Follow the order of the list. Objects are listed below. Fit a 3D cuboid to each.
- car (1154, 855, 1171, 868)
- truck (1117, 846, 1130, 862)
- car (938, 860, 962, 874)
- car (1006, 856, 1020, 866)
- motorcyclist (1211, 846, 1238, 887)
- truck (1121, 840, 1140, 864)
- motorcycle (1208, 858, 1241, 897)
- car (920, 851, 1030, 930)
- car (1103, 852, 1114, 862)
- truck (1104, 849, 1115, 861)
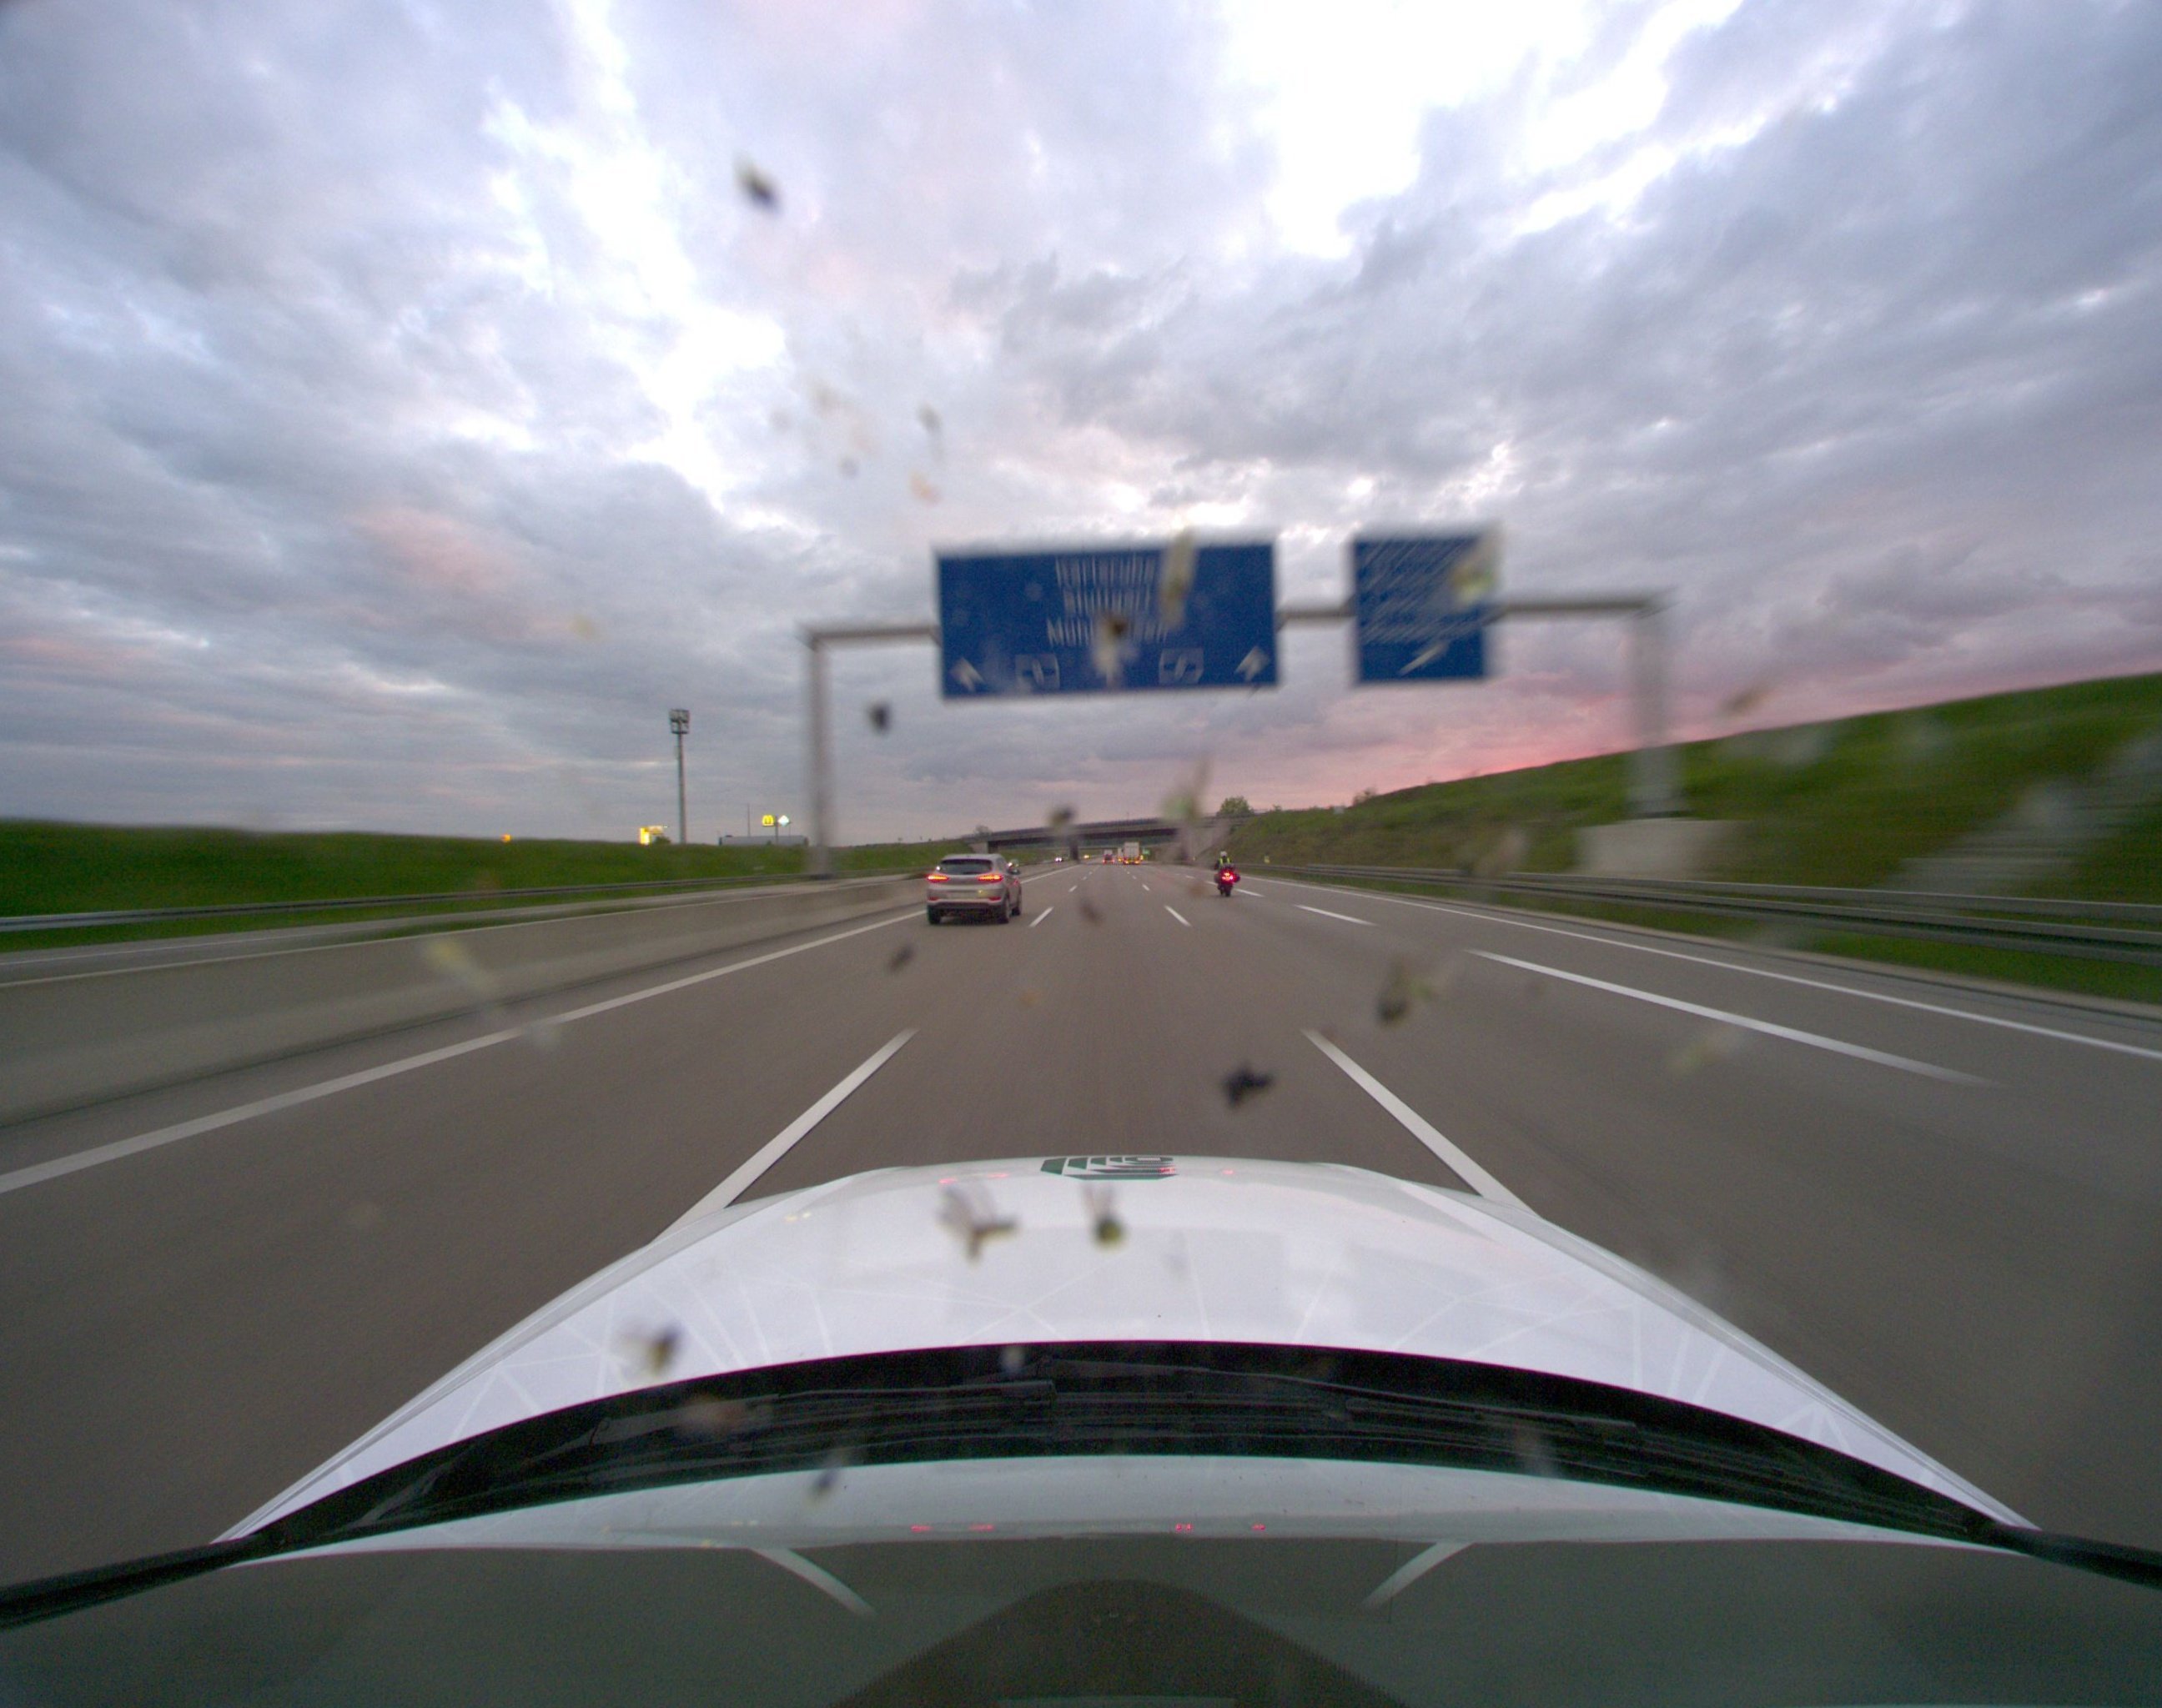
[{"bbox_3d":[10.646,0.979,106.253,1.911,1.579,4.001,-2,0,1],"label":"car"},{"bbox_3d":[12.487,-0.058,239.070,3.512,4.345,8.408,0,0,1],"label":"truck"},{"bbox_3d":[-15.644,1.586,97.473,1.986,1.602,5.200,-1,-1,1],"label":"car"},{"bbox_3d":[-11.194,1.199,133.735,1.812,1.628,4.002,-1,-1,3],"label":"car"},{"bbox_3d":[5.344,0.452,30.396,0.862,1.487,1.169,0,0,3],"label":"motorcyclist"},{"bbox_3d":[8.849,-0.426,147.550,3.221,4.227,9.605,0,0,2],"label":"truck"},{"bbox_3d":[5.345,0.858,30.493,0.898,1.346,2.350,-1,1,2],"label":"motorcycle"},{"bbox_3d":[-2.503,0.803,20.702,1.845,1.692,5.515,-1,0,2],"label":"car"},{"bbox_3d":[6.670,0.751,198.238,2.507,2.391,6.498,-2,0,1],"label":"car"},{"bbox_3d":[7.466,0.209,214.179,2.941,3.217,8.408,0,1,1],"label":"truck"}]
